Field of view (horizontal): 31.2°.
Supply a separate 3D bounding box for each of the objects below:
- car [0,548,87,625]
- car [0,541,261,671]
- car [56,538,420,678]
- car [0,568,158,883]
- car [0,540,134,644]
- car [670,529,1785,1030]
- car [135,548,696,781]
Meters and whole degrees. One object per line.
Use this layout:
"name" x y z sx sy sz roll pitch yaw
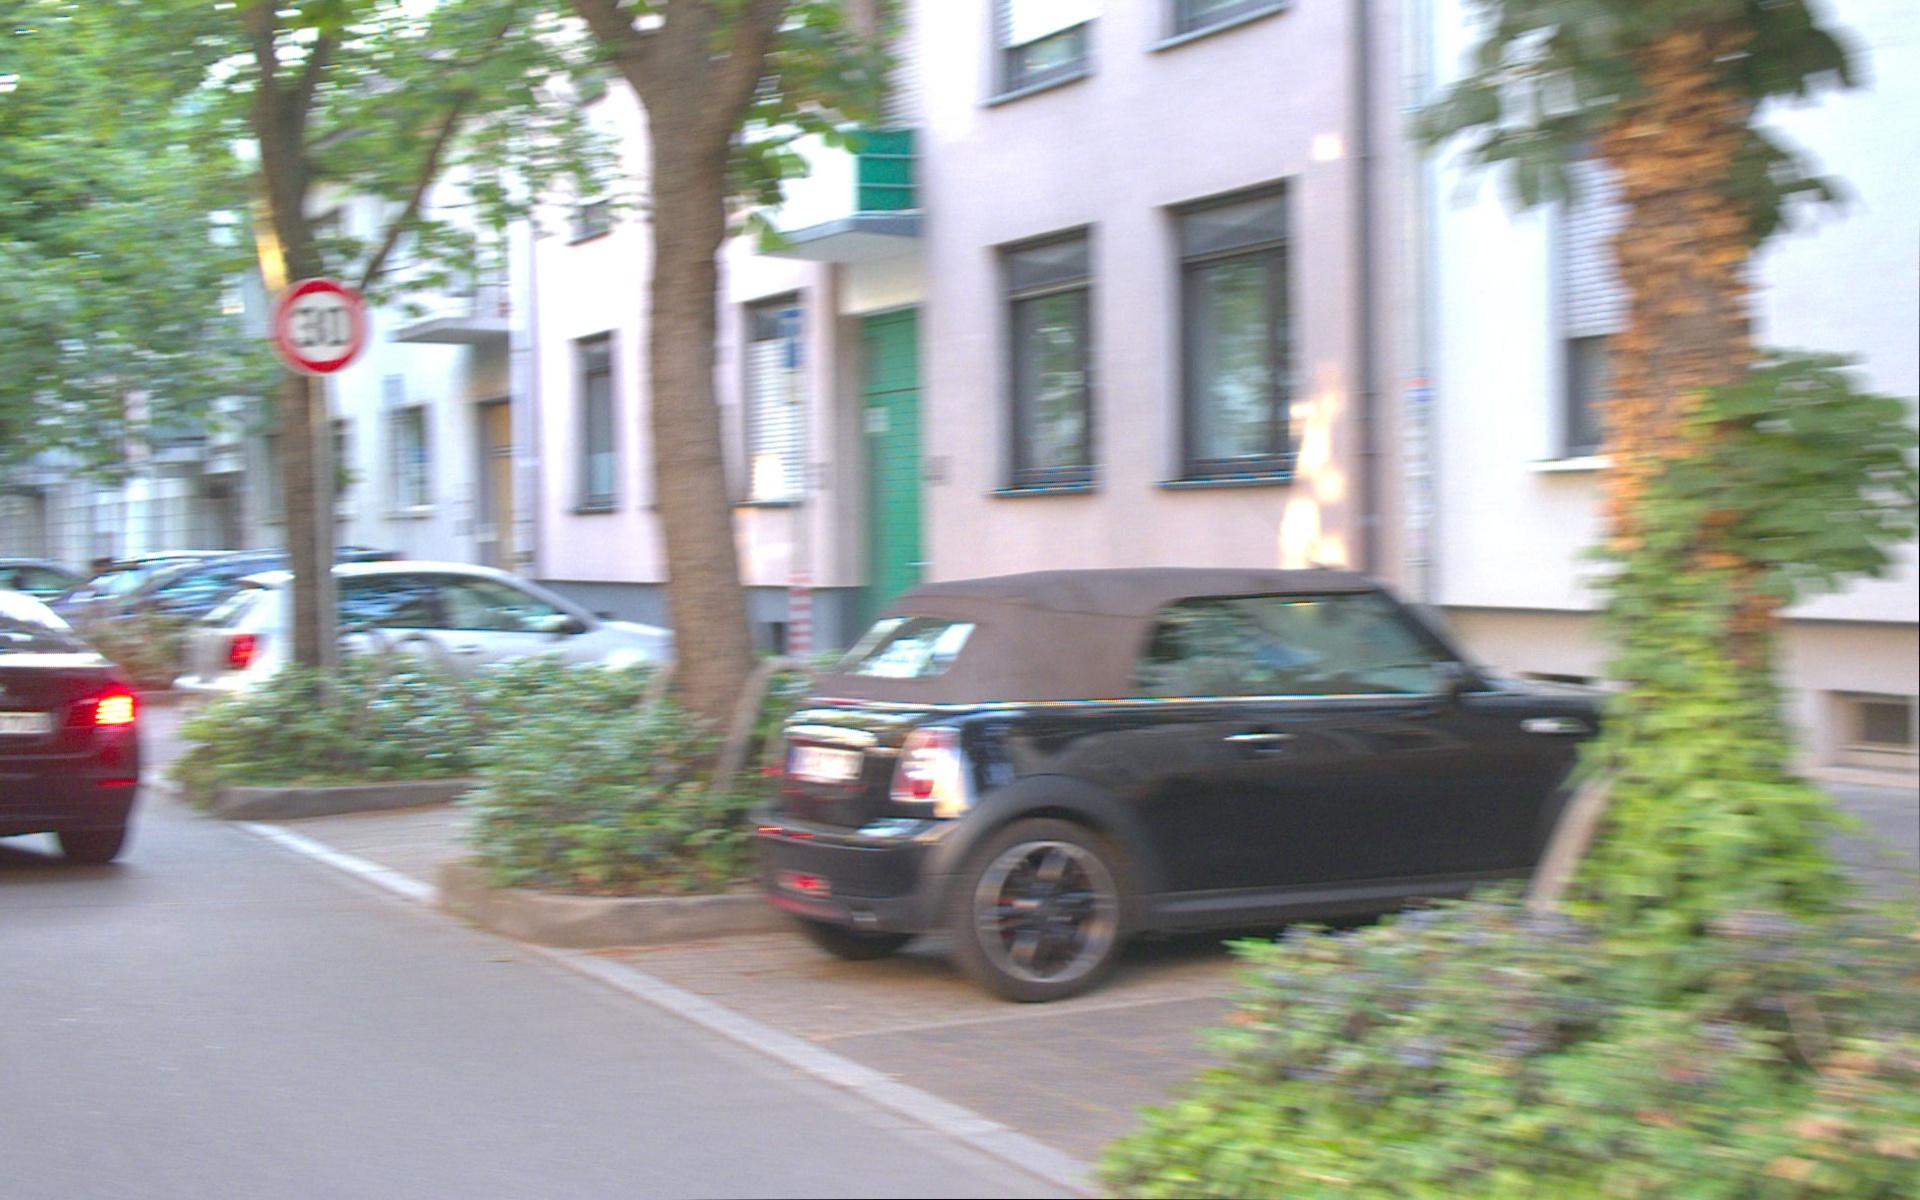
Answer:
"car" -18.219 -0.243 63.863 3.656 1.388 1.566 -1 1 -23
"car" -10.921 0.063 43.536 3.791 1.524 1.566 -2 1 -23
"car" -7.937 0.060 37.786 3.656 1.388 1.566 -2 1 -23
"car" -5.898 0.567 17.800 1.762 1.445 4.667 -1 1 -35
"car" -14.453 -0.121 51.853 3.656 1.531 1.566 -1 1 -23
"car" 0.995 0.553 12.606 3.702 1.423 1.627 -4 2 -26
"car" -3.887 0.414 24.547 3.656 1.474 1.566 -2 1 -23
